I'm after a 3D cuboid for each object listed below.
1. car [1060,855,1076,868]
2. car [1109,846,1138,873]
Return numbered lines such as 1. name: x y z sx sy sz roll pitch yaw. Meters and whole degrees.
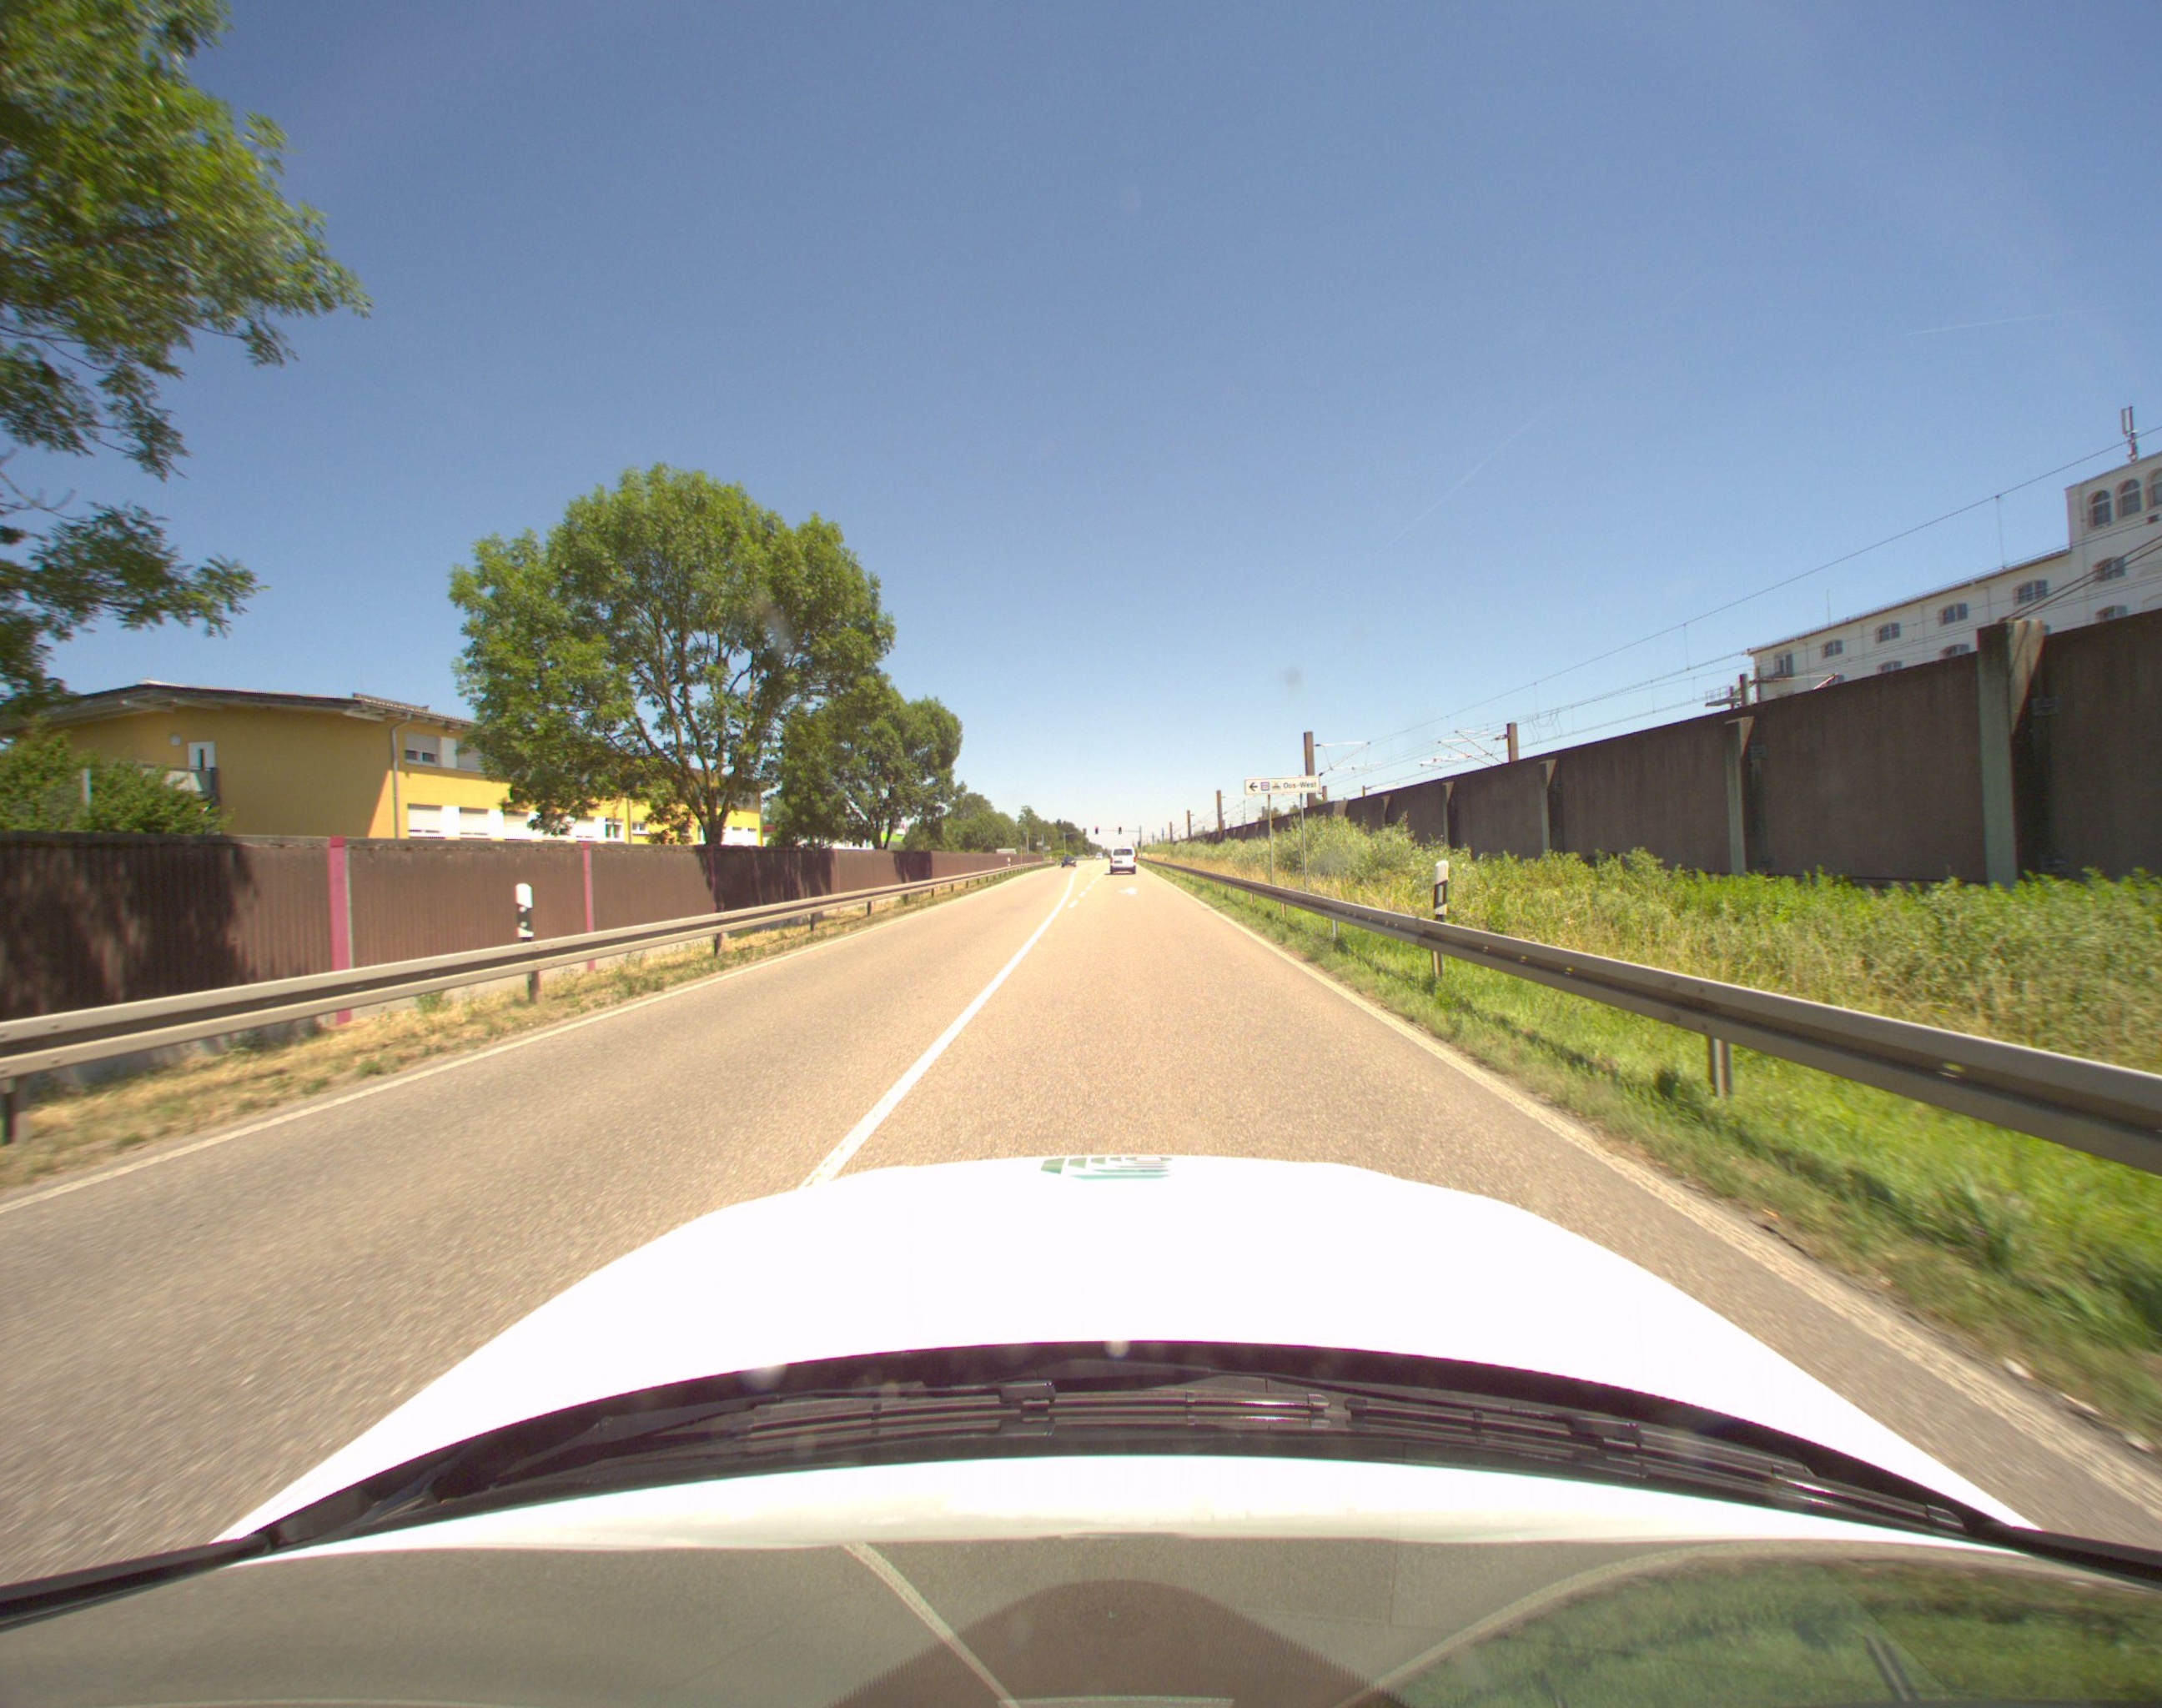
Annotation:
1. car: -1.620 0.932 101.247 1.813 1.596 4.001 0 0 1
2. car: 3.052 0.379 58.965 1.985 1.850 4.003 0 0 3
